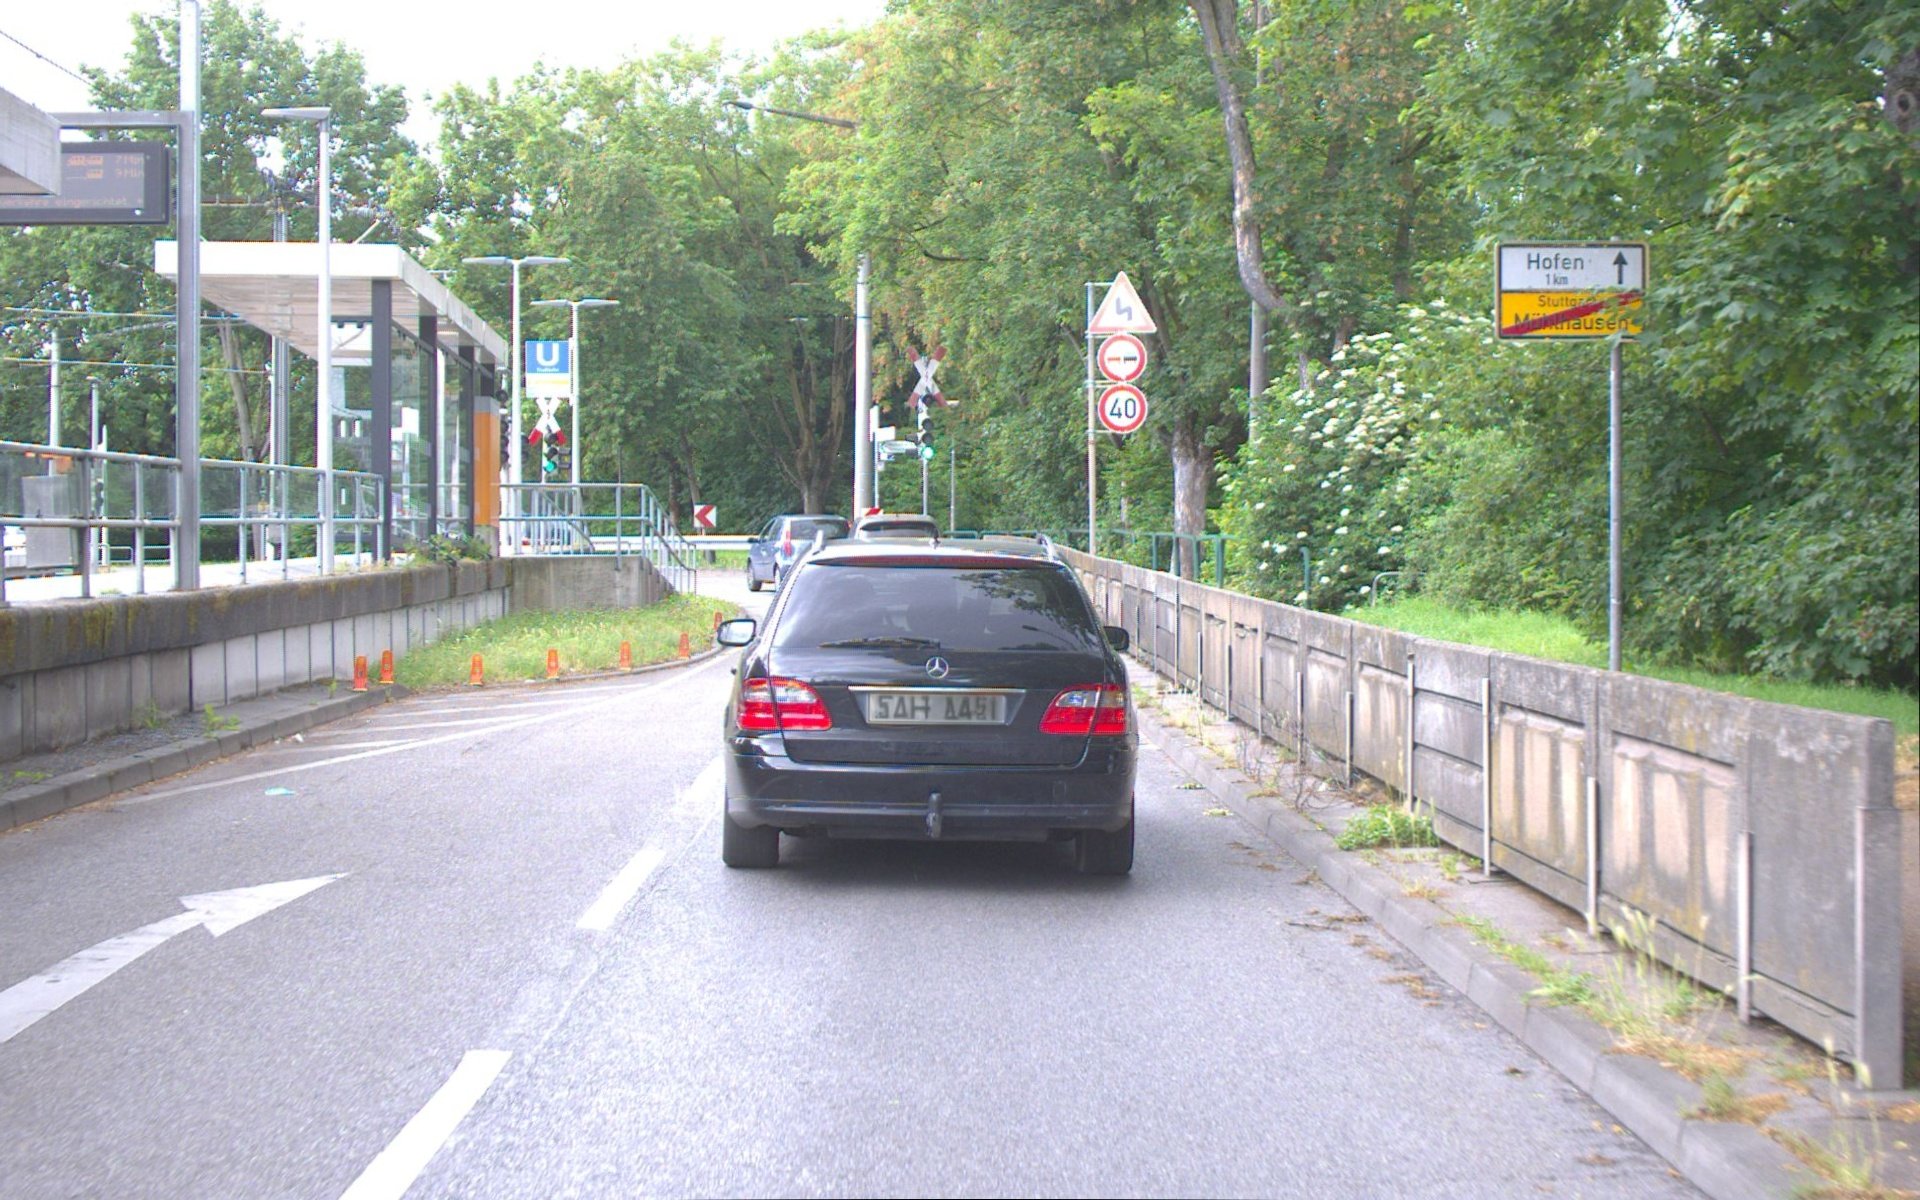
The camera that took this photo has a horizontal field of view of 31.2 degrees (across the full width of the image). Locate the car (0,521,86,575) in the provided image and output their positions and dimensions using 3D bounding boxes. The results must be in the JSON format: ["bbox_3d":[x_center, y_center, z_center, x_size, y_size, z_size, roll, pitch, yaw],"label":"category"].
[{"bbox_3d":[-25.587,-1.415,92.842,3.997,1.394,1.995,2,2,42],"label":"car"}]

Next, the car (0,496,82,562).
[{"bbox_3d":[-25.442,-1.928,92.977,3.388,1.700,1.610,2,0,42],"label":"car"}]

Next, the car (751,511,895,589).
[{"bbox_3d":[-2.599,-0.950,64.322,1.993,1.394,4.001,0,2,-13],"label":"car"}]

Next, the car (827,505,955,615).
[{"bbox_3d":[-1.117,-0.633,53.962,1.781,1.642,4.001,1,1,-4],"label":"car"}]

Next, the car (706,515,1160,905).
[{"bbox_3d":[-0.157,0.407,15.880,1.781,1.520,4.000,2,1,-1],"label":"car"}]
